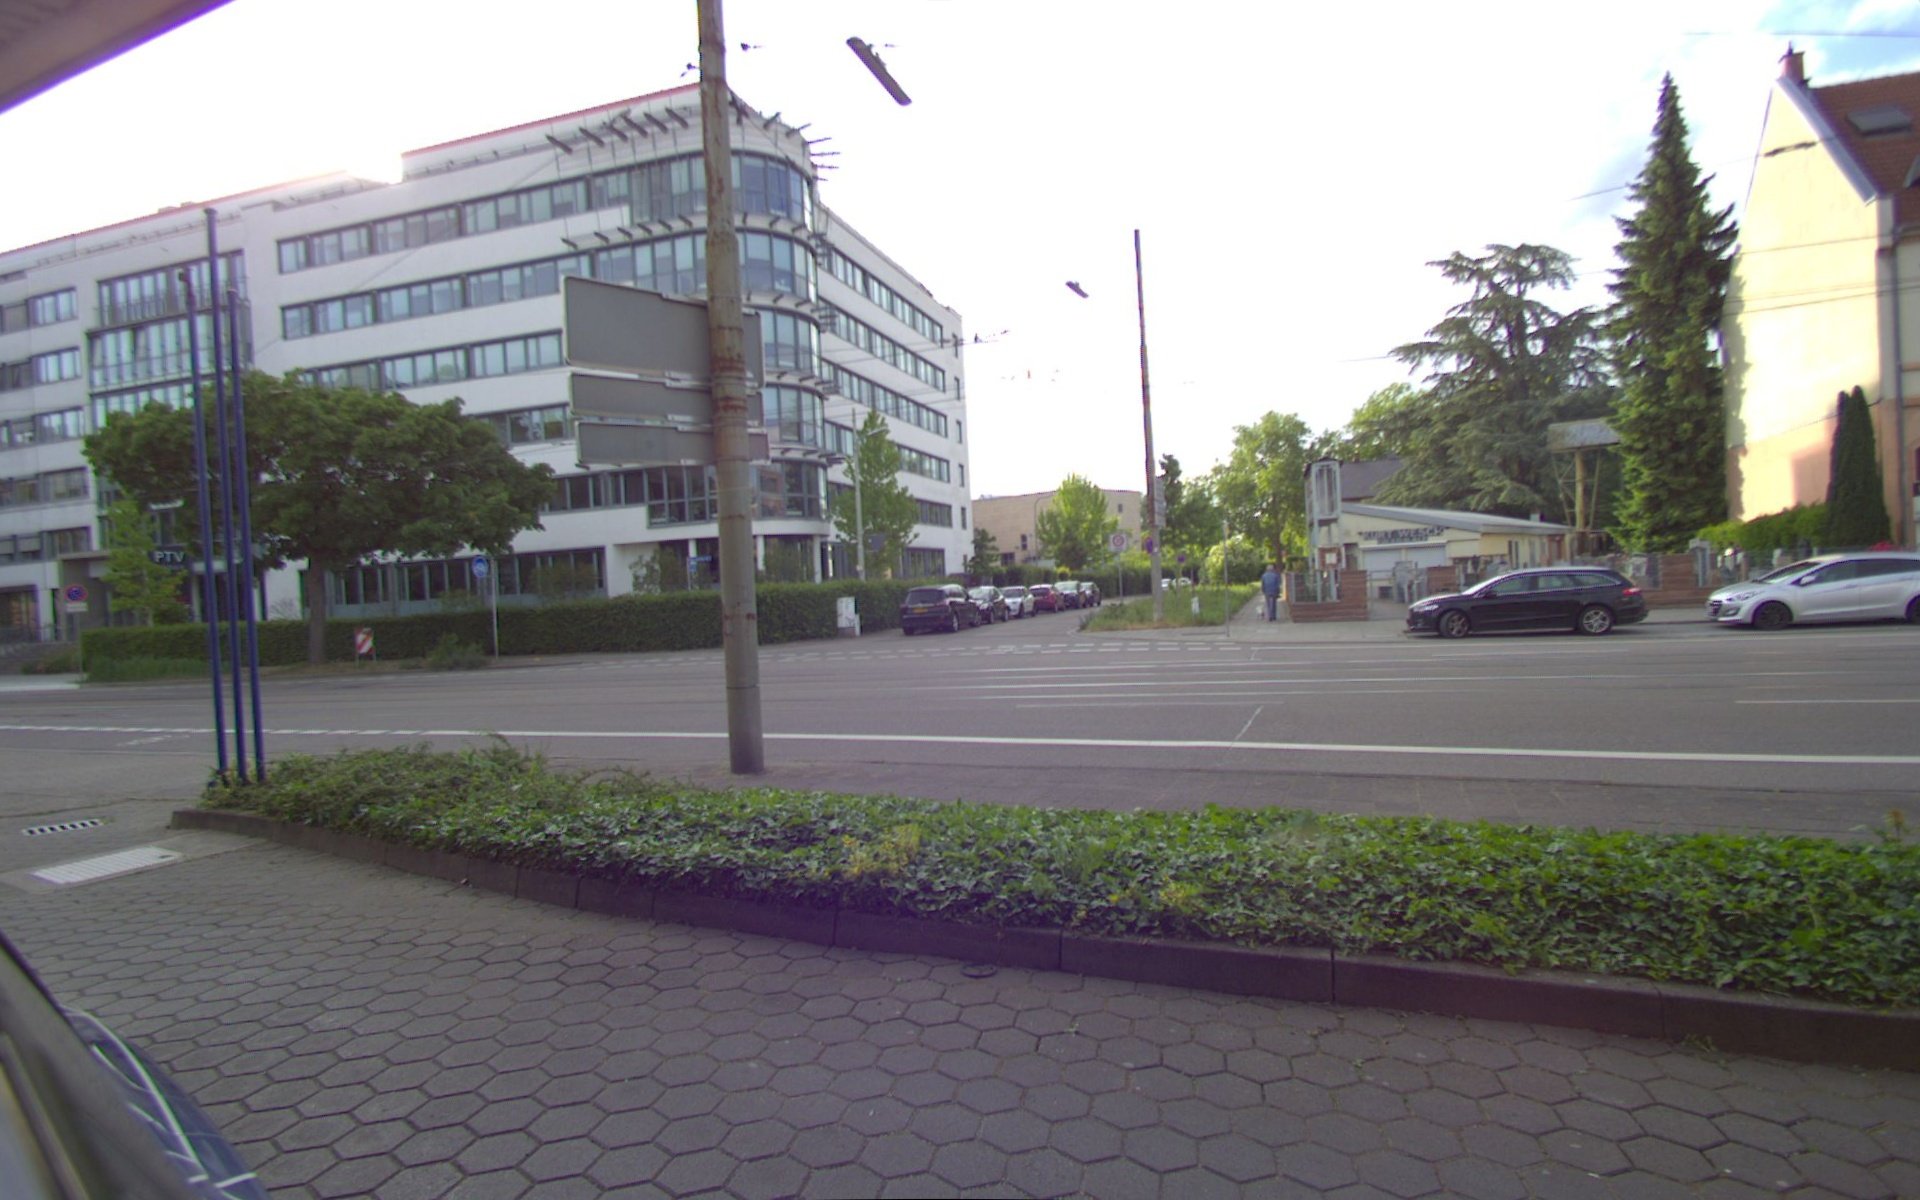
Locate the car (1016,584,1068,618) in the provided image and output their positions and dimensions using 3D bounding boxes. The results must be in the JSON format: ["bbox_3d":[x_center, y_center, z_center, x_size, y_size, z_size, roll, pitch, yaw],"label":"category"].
[{"bbox_3d":[4.298,0.024,52.405,1.807,1.589,4.175,-4,0,16],"label":"car"}]

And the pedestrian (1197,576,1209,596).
[{"bbox_3d":[23.772,-1.380,98.986,0.966,1.896,1.055,-1,0,20],"label":"pedestrian"}]

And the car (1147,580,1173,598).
[{"bbox_3d":[19.955,-1.130,100.906,1.811,1.654,4.044,-4,0,22],"label":"car"}]

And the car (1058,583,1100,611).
[{"bbox_3d":[7.384,-0.211,62.569,1.807,1.585,4.052,-4,0,16],"label":"car"}]

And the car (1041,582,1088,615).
[{"bbox_3d":[6.029,-0.134,57.803,1.807,1.704,4.392,-4,0,16],"label":"car"}]

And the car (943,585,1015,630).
[{"bbox_3d":[0.829,0.271,40.979,1.807,1.589,4.175,-4,0,16],"label":"car"}]

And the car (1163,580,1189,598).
[{"bbox_3d":[22.832,-1.150,106.853,1.813,1.654,4.040,-4,0,25],"label":"car"}]

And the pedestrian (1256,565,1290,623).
[{"bbox_3d":[9.544,-0.191,30.857,0.903,1.712,0.919,-2,3,20],"label":"pedestrian"}]

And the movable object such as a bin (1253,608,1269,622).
[{"bbox_3d":[9.539,0.477,32.107,0.362,0.397,0.662,-3,3,7],"label":"movable object such as a bin"}]

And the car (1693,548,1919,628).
[{"bbox_3d":[18.405,-0.267,21.396,4.349,1.493,1.732,-3,1,22],"label":"car"}]

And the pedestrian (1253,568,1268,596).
[{"bbox_3d":[21.117,-1.267,71.014,0.965,1.896,1.056,-1,0,18],"label":"pedestrian"}]

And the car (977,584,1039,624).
[{"bbox_3d":[2.223,0.153,45.684,1.807,1.589,4.175,-4,0,16],"label":"car"}]

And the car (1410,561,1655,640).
[{"bbox_3d":[13.012,0.008,23.366,4.632,1.533,1.842,-3,2,22],"label":"car"}]

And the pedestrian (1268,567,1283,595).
[{"bbox_3d":[22.018,-1.303,70.691,0.965,1.896,1.056,-1,0,18],"label":"pedestrian"}]

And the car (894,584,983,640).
[{"bbox_3d":[-0.688,0.358,35.564,1.807,1.701,4.370,-4,1,16],"label":"car"}]
